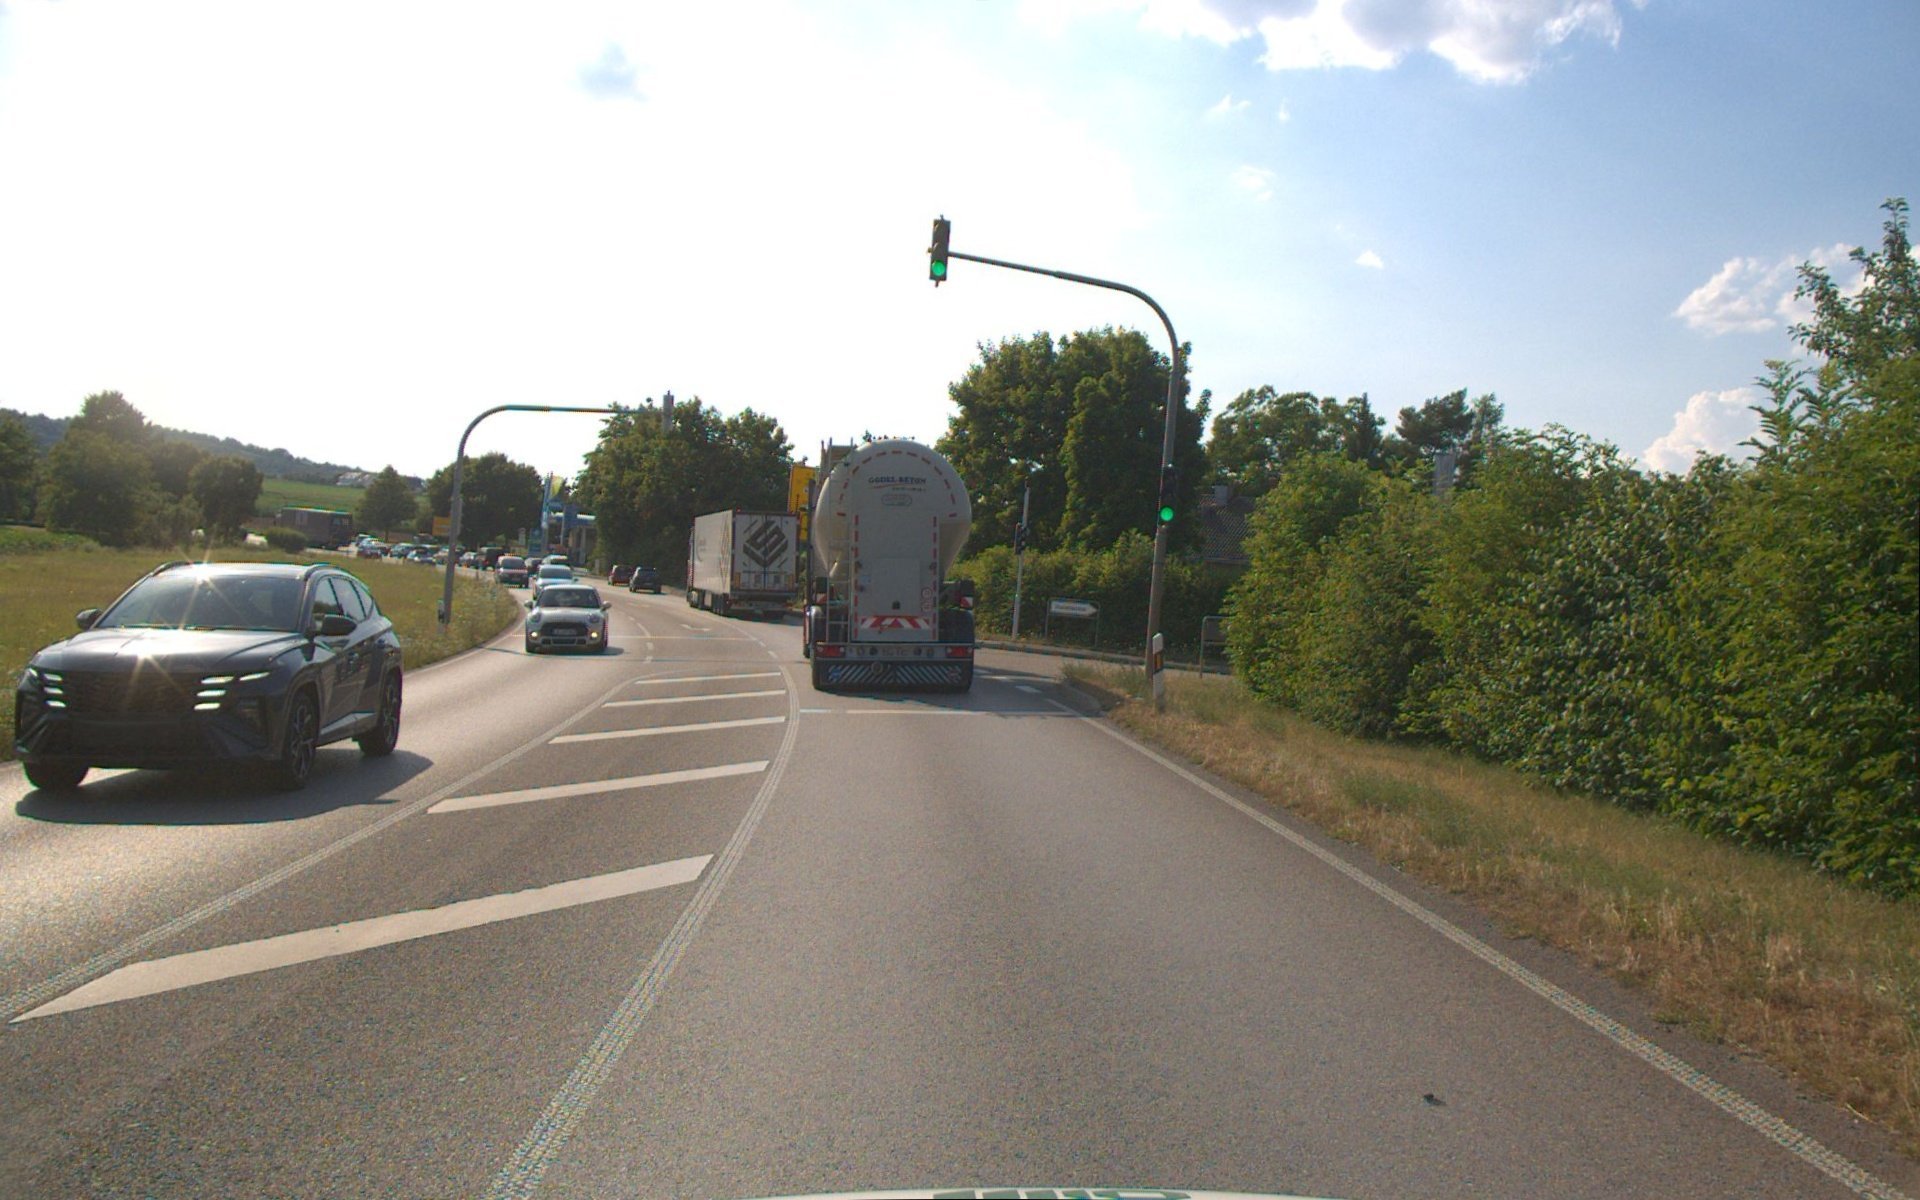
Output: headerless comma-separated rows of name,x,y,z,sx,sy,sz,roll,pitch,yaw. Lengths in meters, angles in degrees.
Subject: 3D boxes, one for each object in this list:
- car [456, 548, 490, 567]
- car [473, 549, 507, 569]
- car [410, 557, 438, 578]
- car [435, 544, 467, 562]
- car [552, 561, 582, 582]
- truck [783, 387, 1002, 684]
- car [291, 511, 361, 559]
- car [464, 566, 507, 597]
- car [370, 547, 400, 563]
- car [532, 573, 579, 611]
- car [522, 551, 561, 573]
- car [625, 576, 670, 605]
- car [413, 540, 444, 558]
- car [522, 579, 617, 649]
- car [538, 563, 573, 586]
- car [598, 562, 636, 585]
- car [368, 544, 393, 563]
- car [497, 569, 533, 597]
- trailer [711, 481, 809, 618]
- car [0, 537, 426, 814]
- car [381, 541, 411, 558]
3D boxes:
car,-44.610,-3.911,151.420,2.064,1.627,3.958,2,0,-31
car,-41.170,-3.573,144.785,1.862,1.627,3.959,2,0,-31
car,-44.831,-2.697,138.320,1.857,1.627,3.972,2,0,-23
car,-48.480,-4.498,157.500,1.864,1.627,3.956,2,0,-32
car,-33.669,-2.445,141.542,1.816,1.685,3.972,3,-1,-23
truck,-1.594,-0.871,30.140,2.919,4.248,11.643,2,-1,-7
car,-72.371,-7.422,188.627,3.517,5.147,13.060,2,0,-39
car,-27.067,-1.064,94.305,1.856,1.627,3.972,2,0,-23
car,-60.754,-4.781,174.727,1.866,1.627,3.951,2,0,-35
car,-18.496,-0.388,75.491,1.851,1.627,3.983,2,0,-16
car,-33.483,-3.029,132.245,2.063,1.627,3.961,2,0,-29
car,-19.432,-0.605,102.809,1.965,1.685,3.974,3,-1,-22
car,-52.339,-5.004,162.715,1.865,1.627,3.954,2,0,-34
car,-8.622,0.294,36.787,1.688,1.461,3.742,0,0,-8
car,-30.496,-1.910,124.696,1.857,1.627,3.970,2,0,-24
car,-24.594,-1.876,118.370,1.663,1.493,3.966,3,-1,-27
car,-54.696,-4.390,156.039,1.857,1.627,3.972,2,0,-23
car,-27.333,-1.050,101.468,1.853,1.627,3.980,2,0,-18
trailer,-8.163,-1.824,66.358,2.912,4.967,10.257,2,-1,-12
car,-5.774,0.456,13.010,1.955,1.755,4.422,2,1,-5
car,-57.666,-5.137,169.112,1.866,1.627,3.952,2,0,-35
